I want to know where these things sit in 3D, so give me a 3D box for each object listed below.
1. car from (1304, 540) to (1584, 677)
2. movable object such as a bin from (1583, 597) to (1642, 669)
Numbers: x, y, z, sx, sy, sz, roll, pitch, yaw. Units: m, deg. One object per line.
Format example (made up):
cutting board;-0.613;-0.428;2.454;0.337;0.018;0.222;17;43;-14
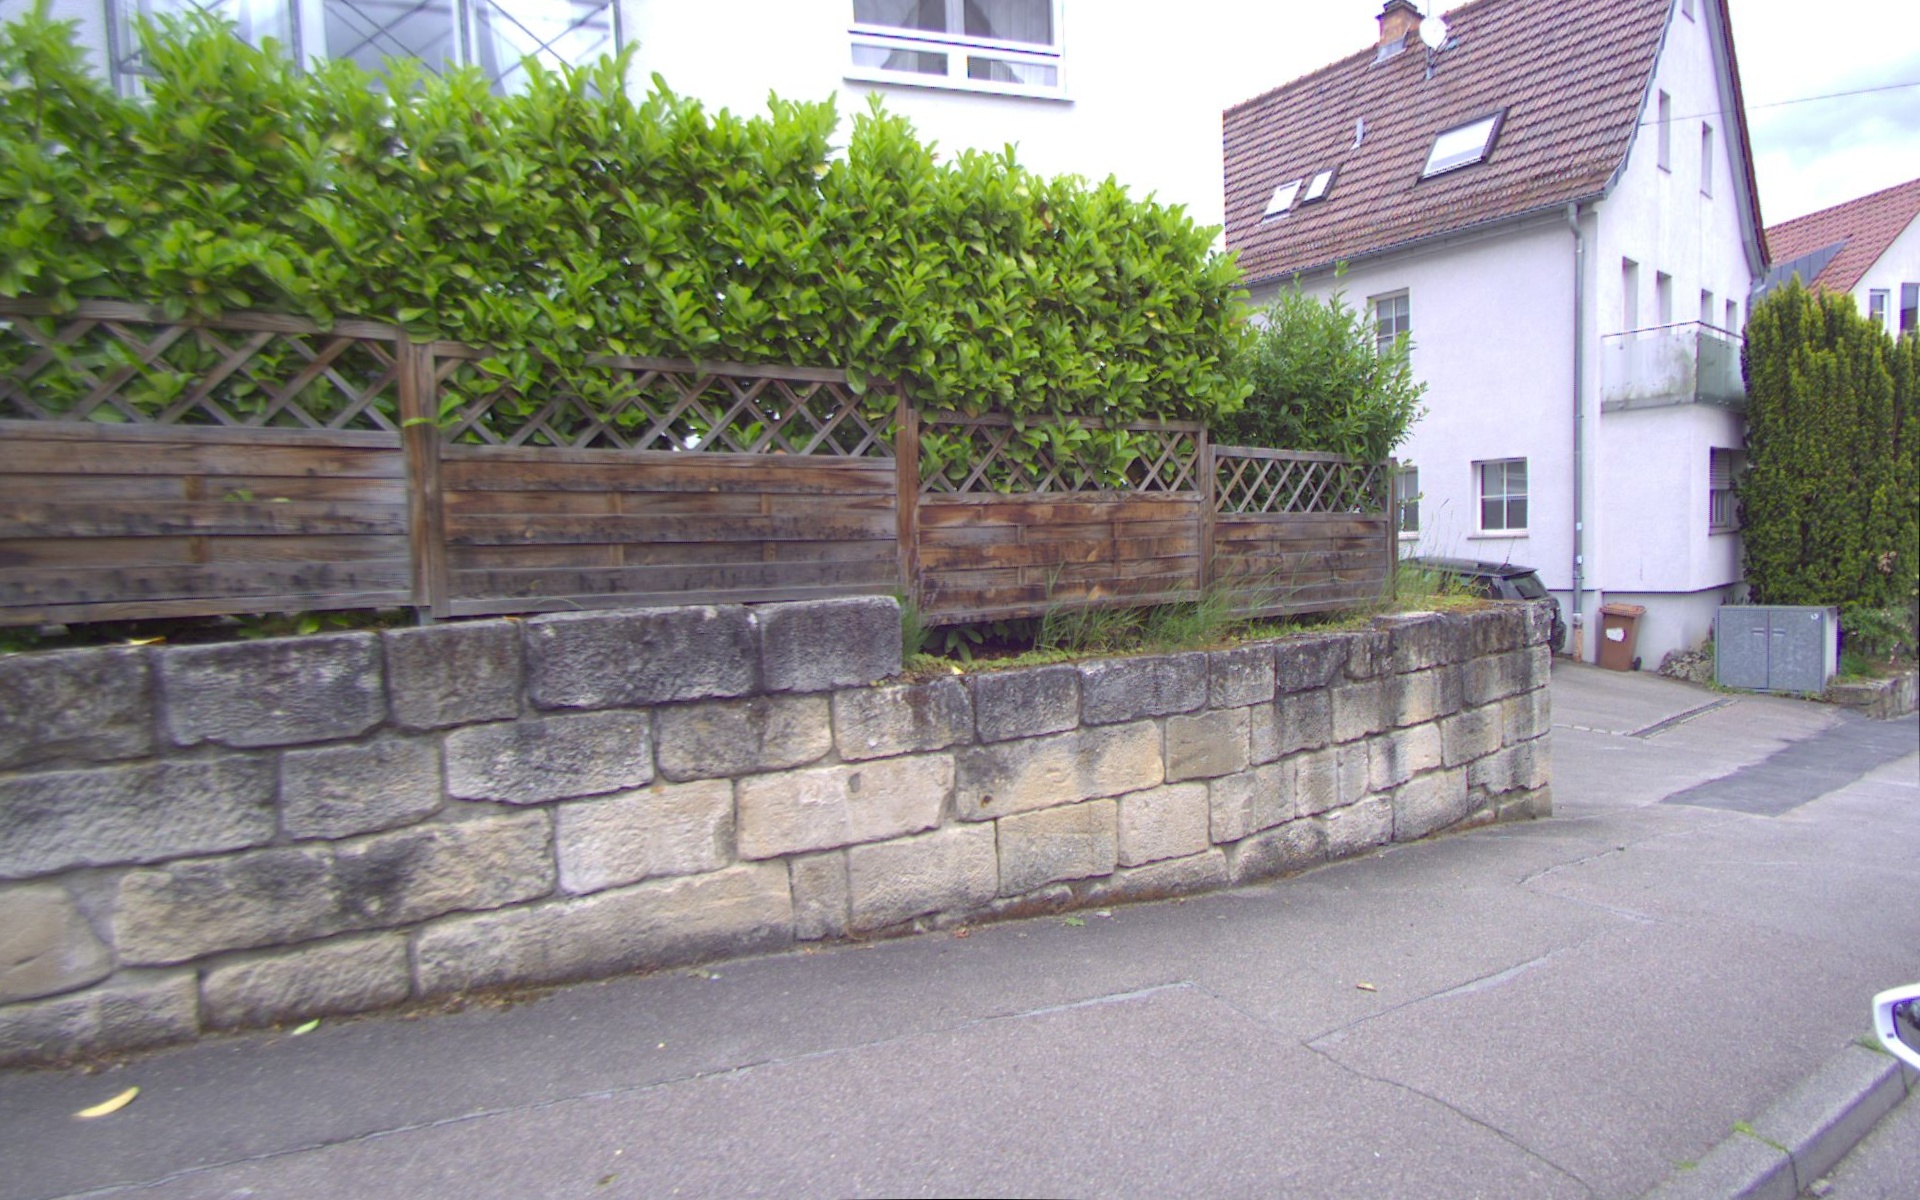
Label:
car;7.195;0.012;15.214;1.609;1.490;3.376;-5;11;-36
movable object such as a bin;9.392;0.461;14.462;0.427;0.915;0.508;-7;13;-37
